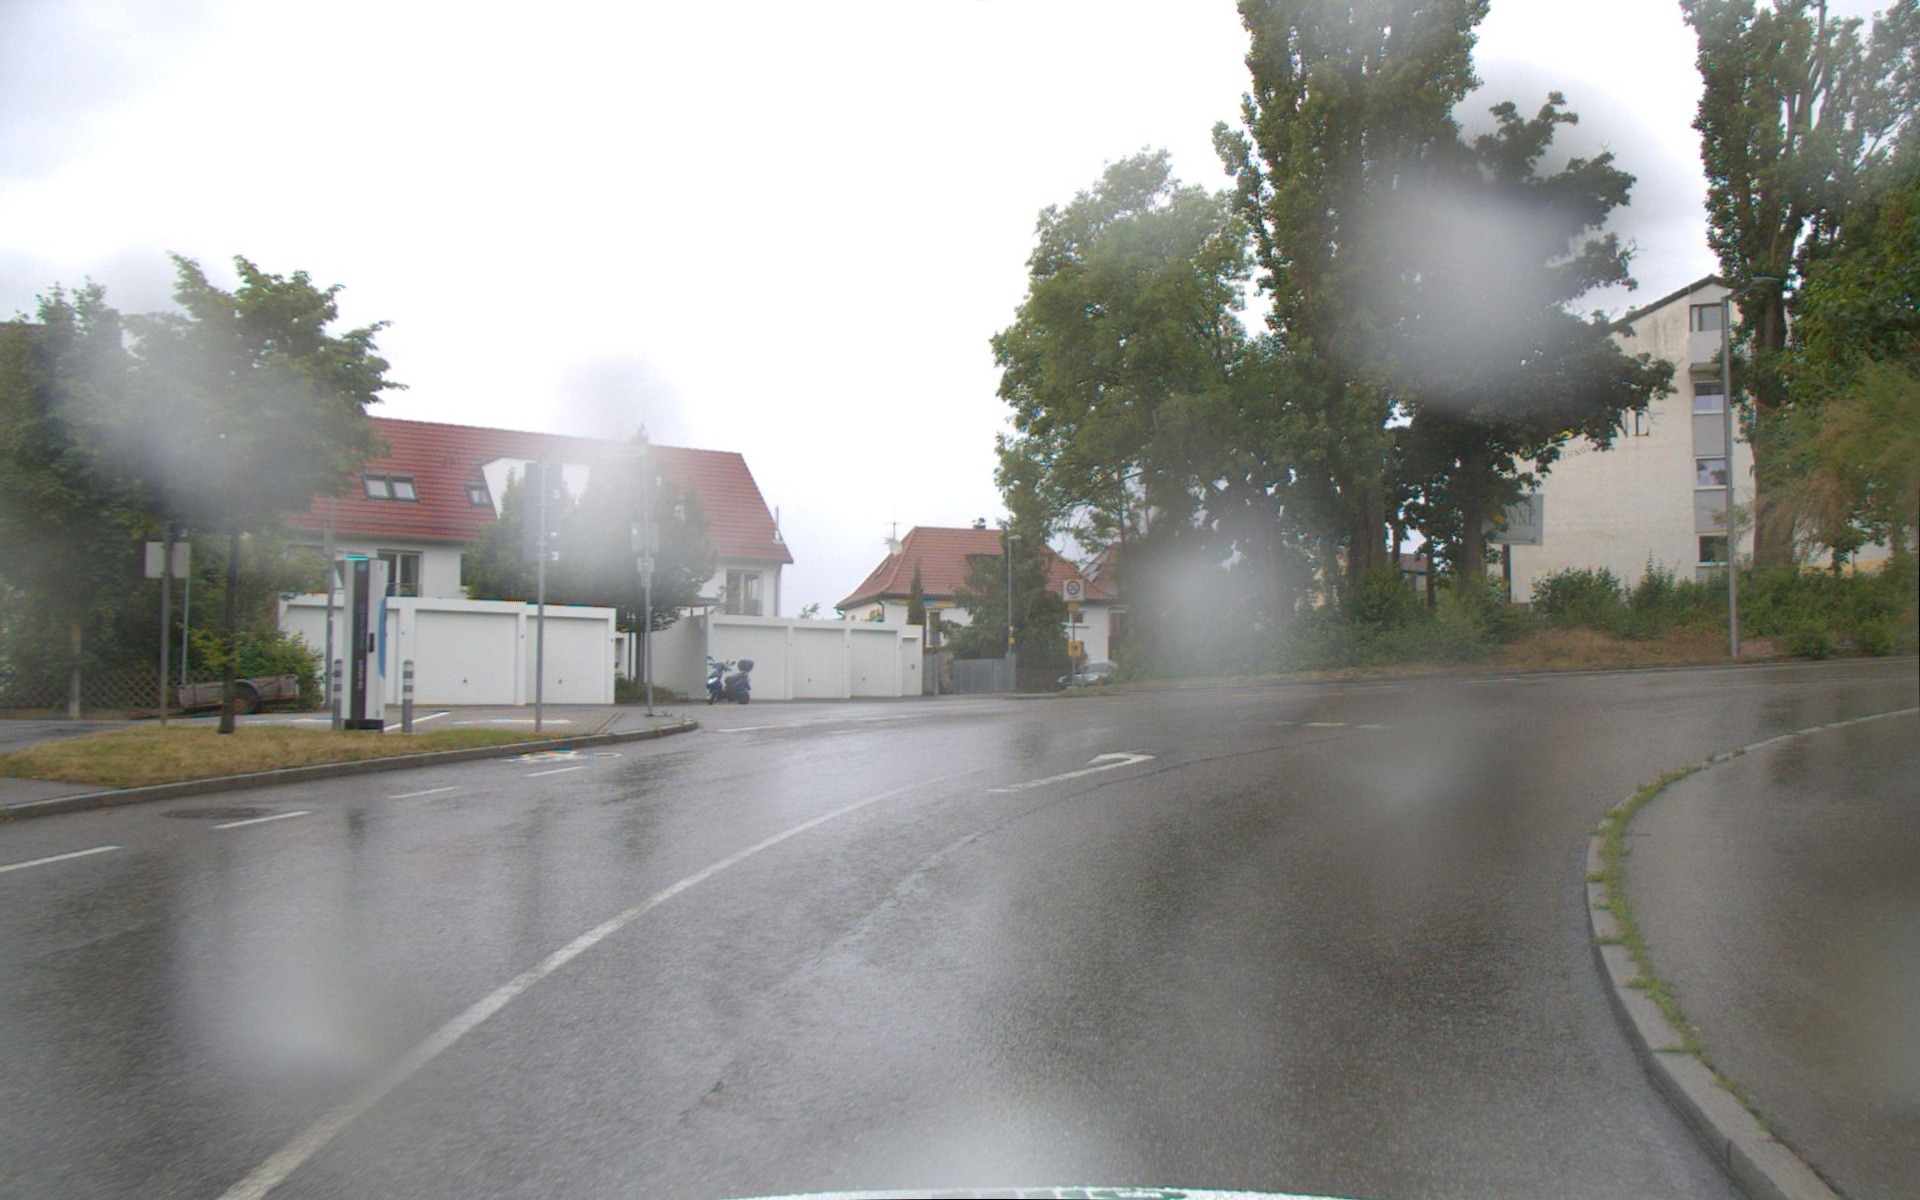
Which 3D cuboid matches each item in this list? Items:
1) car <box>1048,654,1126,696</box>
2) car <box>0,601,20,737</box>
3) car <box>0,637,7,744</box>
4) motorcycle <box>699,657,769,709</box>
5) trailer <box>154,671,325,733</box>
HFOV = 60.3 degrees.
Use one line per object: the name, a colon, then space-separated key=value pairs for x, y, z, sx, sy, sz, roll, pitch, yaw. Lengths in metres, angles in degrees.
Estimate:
car: x=5.045 y=2.937 z=65.286 sx=1.953 sy=1.534 sz=3.999 roll=-2 pitch=-2 yaw=22
car: x=-21.120 y=1.364 z=30.528 sx=6.131 sy=2.567 sz=2.182 roll=-1 pitch=-2 yaw=-16
car: x=-17.816 y=1.506 z=25.755 sx=4.693 sy=1.736 sz=2.061 roll=-1 pitch=-2 yaw=-12
motorcycle: x=-6.133 y=2.253 z=45.057 sx=0.694 sy=1.345 sz=2.040 roll=-3 pitch=-2 yaw=33
trailer: x=-14.233 y=2.005 z=32.807 sx=2.762 sy=1.024 sz=1.590 roll=-2 pitch=-1 yaw=-9
